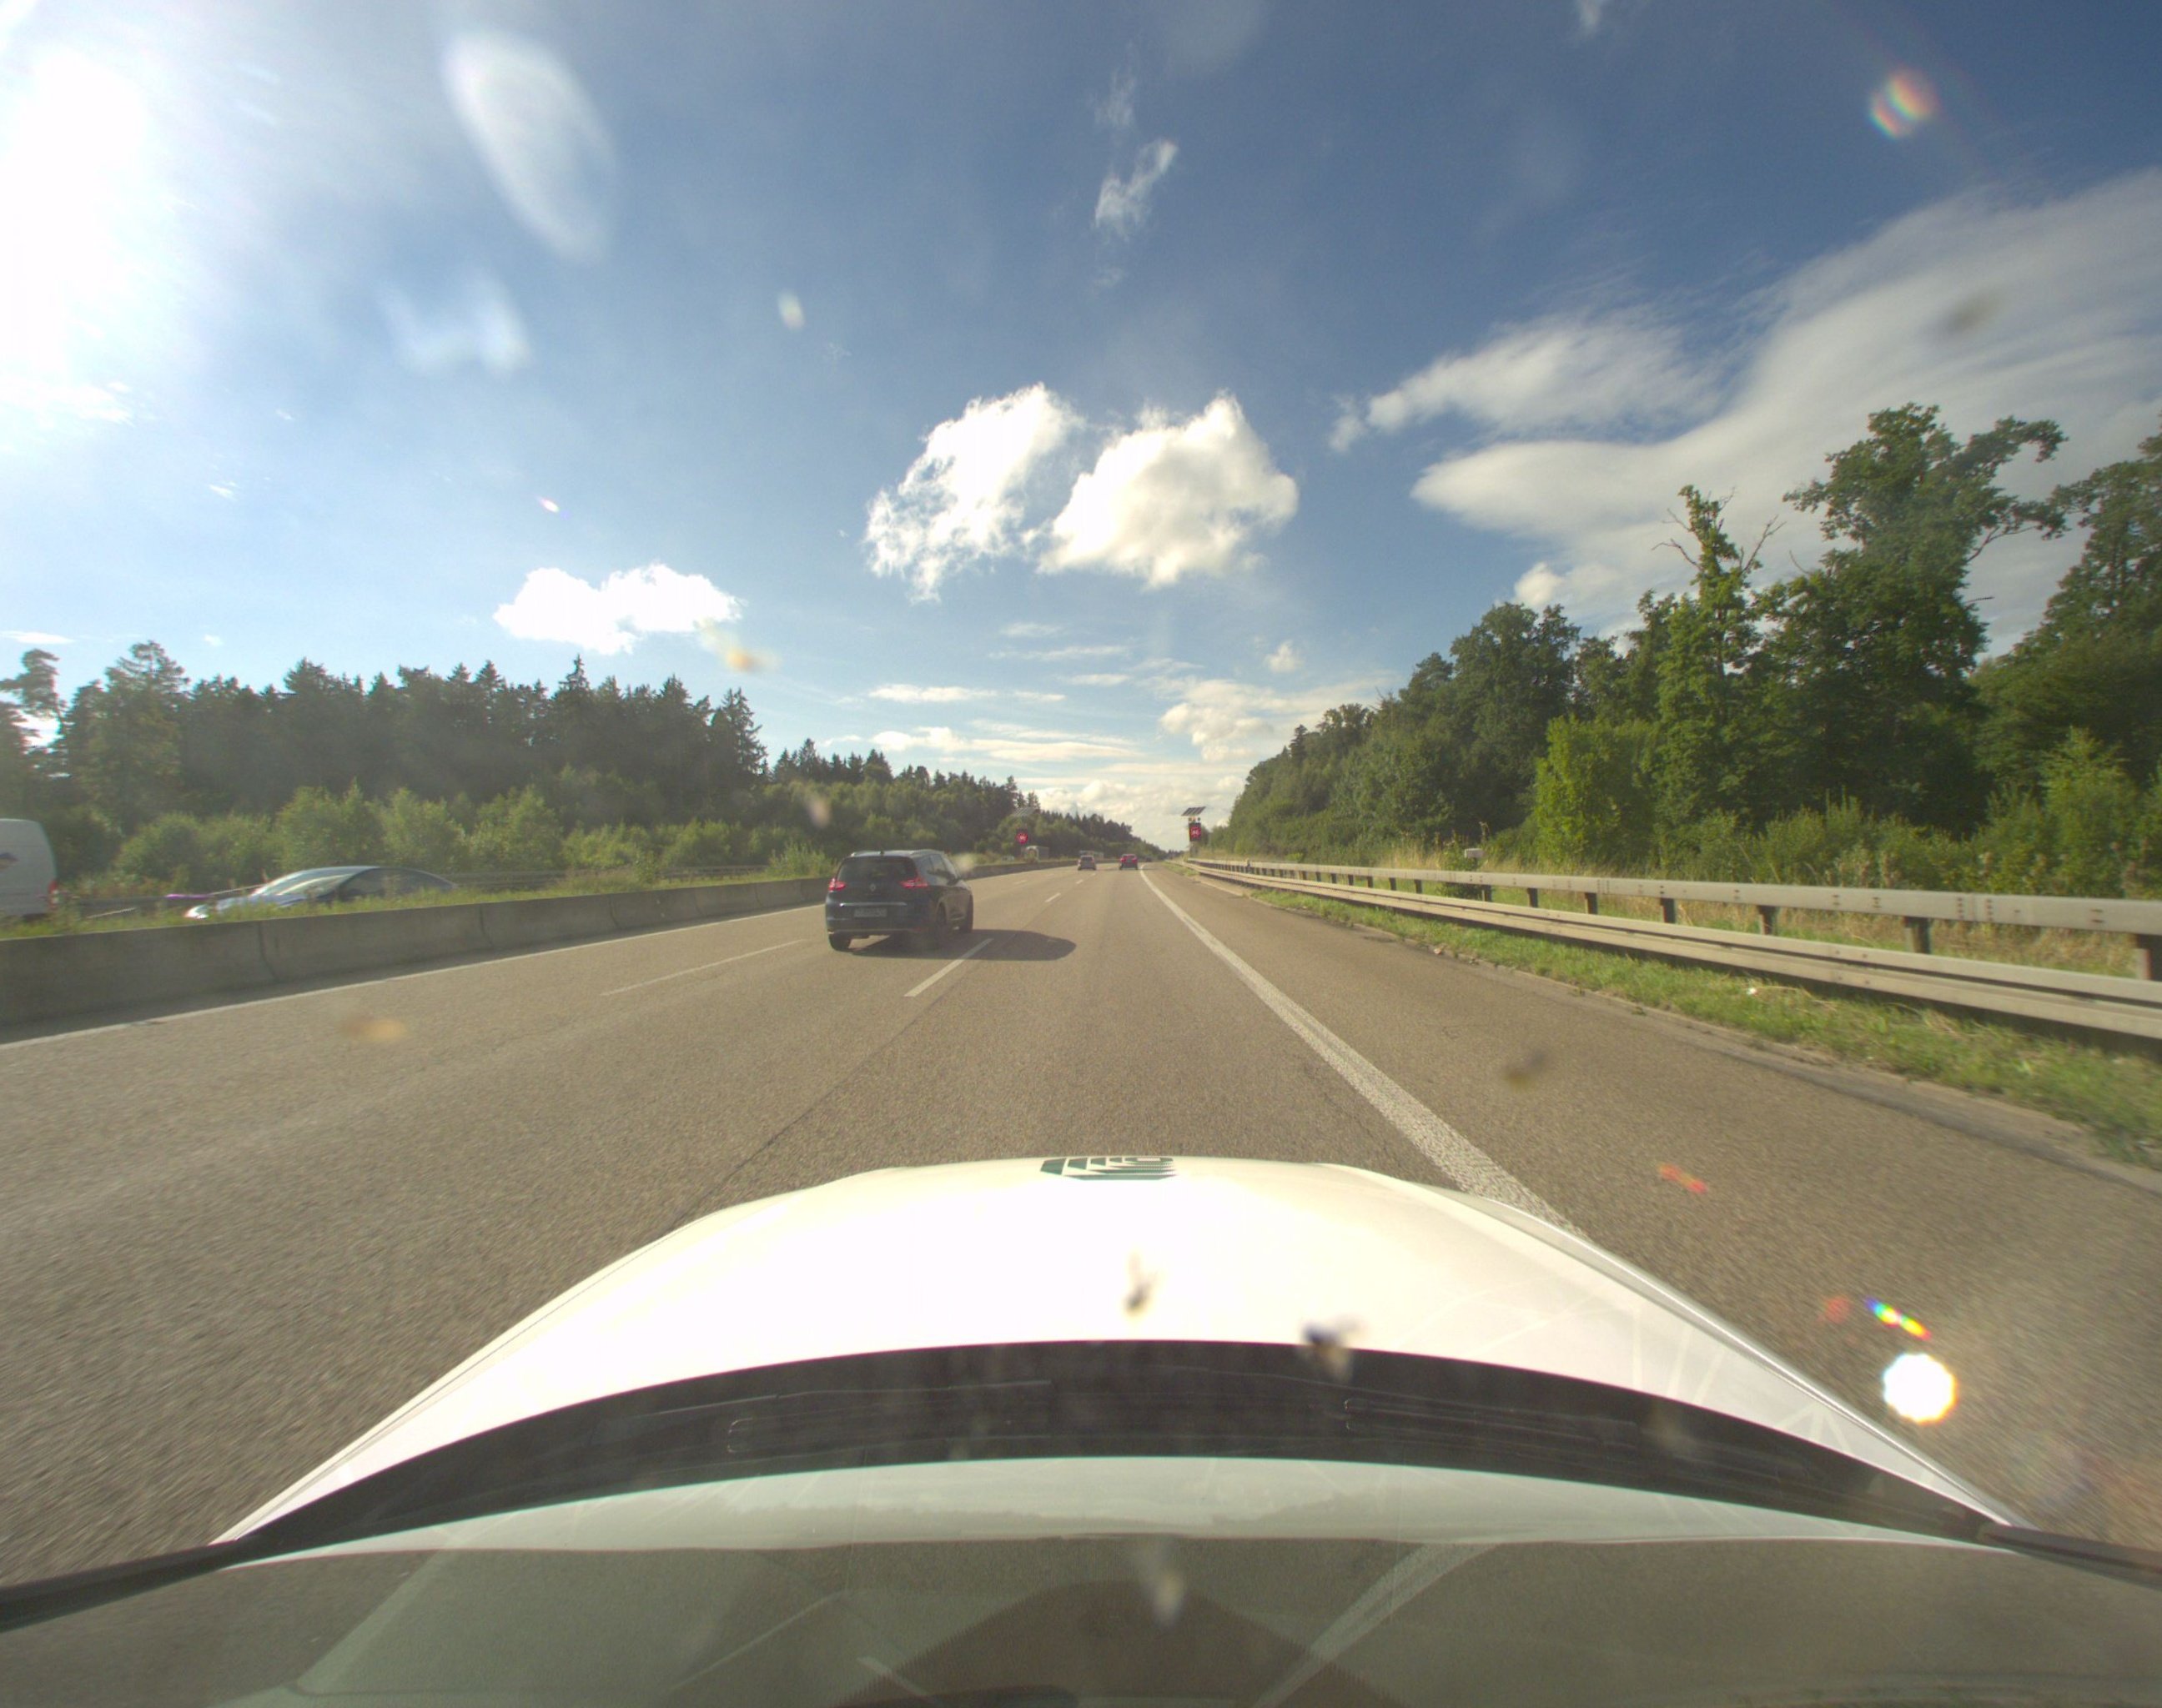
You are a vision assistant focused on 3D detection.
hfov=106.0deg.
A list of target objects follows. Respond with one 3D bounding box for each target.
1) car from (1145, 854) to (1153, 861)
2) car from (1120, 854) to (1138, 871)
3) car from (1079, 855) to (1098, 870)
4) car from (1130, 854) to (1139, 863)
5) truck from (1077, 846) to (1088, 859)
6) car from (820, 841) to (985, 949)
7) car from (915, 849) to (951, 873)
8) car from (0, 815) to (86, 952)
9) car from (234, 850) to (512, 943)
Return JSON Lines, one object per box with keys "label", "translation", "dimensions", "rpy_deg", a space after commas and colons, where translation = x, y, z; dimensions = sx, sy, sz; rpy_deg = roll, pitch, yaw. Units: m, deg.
{"label": "car", "translation": [17.579, 0.920, 211.127], "dimensions": [1.804, 1.706, 4.004], "rpy_deg": [-1, 0, 4]}
{"label": "car", "translation": [5.022, 0.861, 85.625], "dimensions": [1.866, 1.675, 3.893], "rpy_deg": [-1, 0, 3]}
{"label": "car", "translation": [0.814, 0.876, 84.486], "dimensions": [1.866, 1.497, 3.882], "rpy_deg": [-1, 0, 2]}
{"label": "car", "translation": [11.980, 1.014, 182.227], "dimensions": [1.984, 2.013, 4.005], "rpy_deg": [0, 0, 4]}
{"label": "truck", "translation": [0.545, -0.537, 259.485], "dimensions": [2.635, 4.086, 6.428], "rpy_deg": [-1, 0, 7]}
{"label": "car", "translation": [-3.132, 0.653, 15.345], "dimensions": [1.986, 1.707, 4.530], "rpy_deg": [-1, 0, 1]}
{"label": "car", "translation": [-15.542, 0.692, 85.981], "dimensions": [2.300, 2.318, 6.197], "rpy_deg": [2, 0, 3]}
{"label": "car", "translation": [-18.814, 0.494, 11.893], "dimensions": [2.057, 2.244, 5.207], "rpy_deg": [-1, 0, 2]}
{"label": "car", "translation": [-14.834, 0.795, 17.481], "dimensions": [2.057, 1.733, 4.324], "rpy_deg": [-1, 0, 2]}
